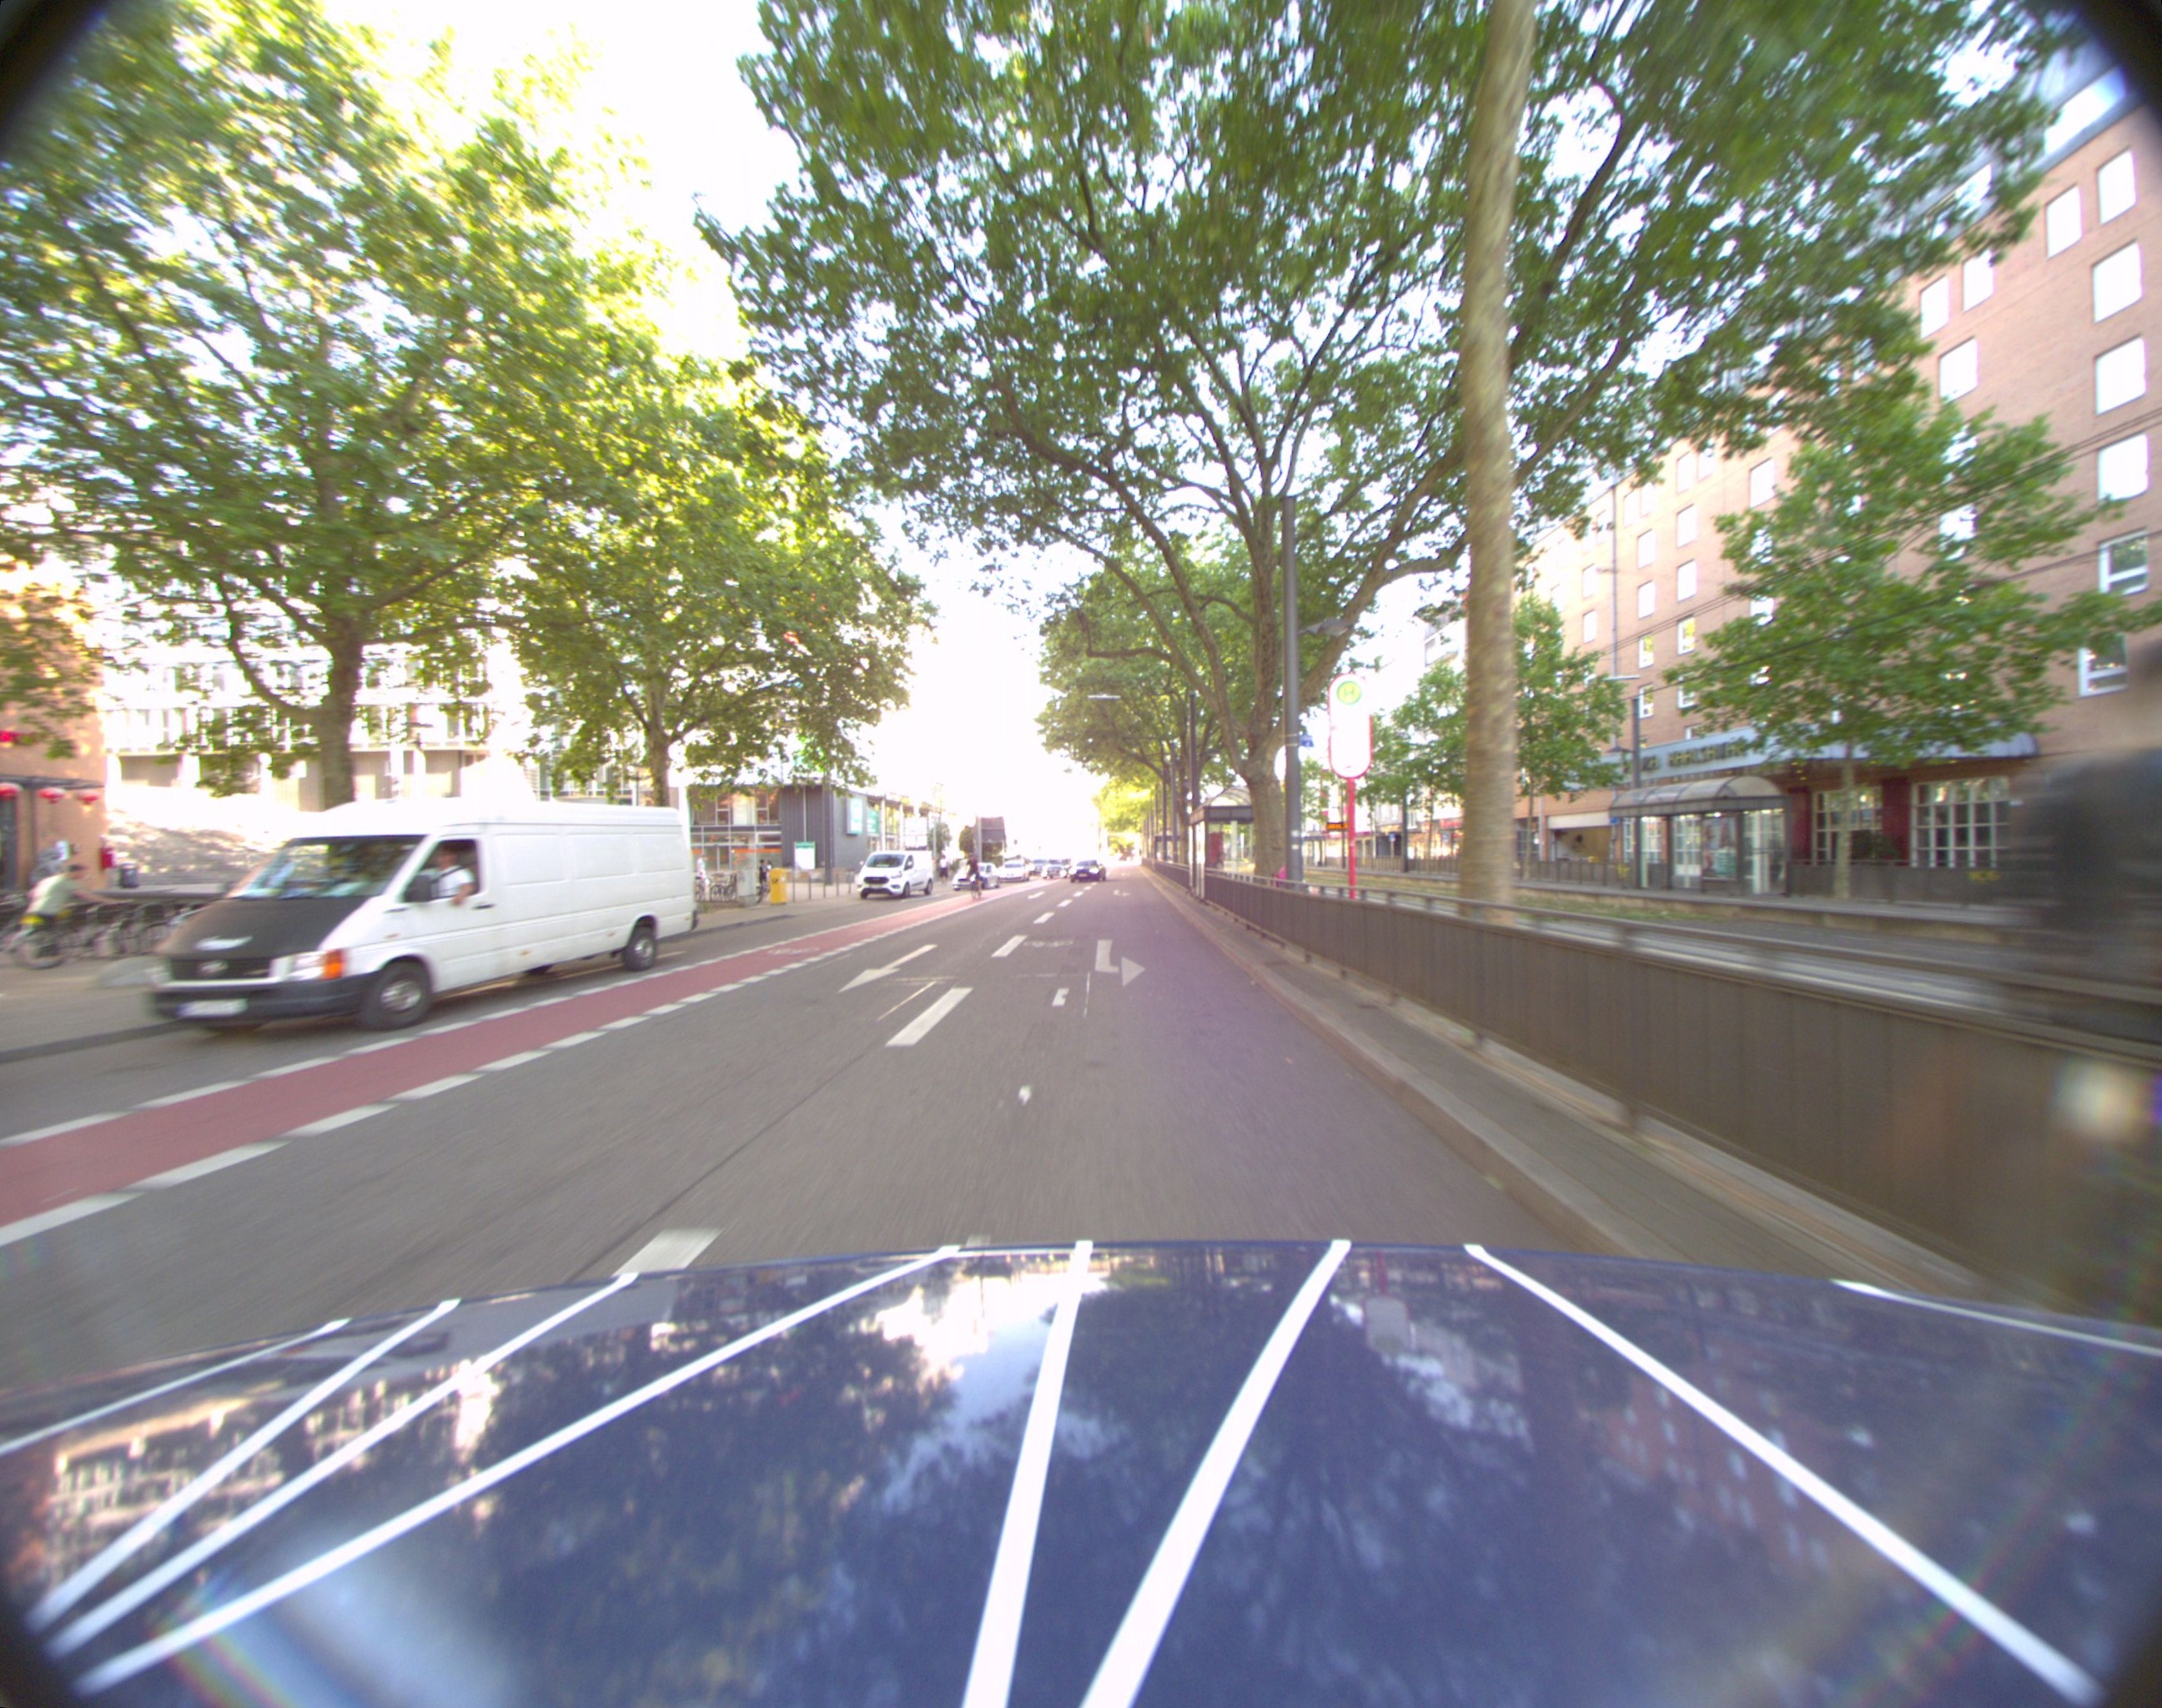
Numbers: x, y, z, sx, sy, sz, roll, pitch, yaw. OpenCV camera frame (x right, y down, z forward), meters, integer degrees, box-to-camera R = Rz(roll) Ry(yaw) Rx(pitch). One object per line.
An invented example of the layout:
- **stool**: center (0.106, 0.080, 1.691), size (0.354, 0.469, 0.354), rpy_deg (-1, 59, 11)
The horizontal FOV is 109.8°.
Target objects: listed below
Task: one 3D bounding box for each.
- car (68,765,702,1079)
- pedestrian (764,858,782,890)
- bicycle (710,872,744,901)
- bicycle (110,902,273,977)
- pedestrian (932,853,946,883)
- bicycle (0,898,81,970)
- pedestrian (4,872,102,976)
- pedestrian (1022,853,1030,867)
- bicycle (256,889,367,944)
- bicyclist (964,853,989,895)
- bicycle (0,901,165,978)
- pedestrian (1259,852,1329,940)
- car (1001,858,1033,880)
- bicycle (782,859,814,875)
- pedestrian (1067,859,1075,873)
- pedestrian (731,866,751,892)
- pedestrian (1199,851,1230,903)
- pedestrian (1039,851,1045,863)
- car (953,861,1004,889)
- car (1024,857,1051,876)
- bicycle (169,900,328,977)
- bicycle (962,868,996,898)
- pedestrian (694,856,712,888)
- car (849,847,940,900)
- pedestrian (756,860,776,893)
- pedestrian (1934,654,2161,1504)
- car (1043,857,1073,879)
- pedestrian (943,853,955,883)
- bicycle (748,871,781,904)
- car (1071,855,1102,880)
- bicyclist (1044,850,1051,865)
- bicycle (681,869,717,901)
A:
- **car**: center (-7.798, 0.593, 9.997), size (1.998, 2.708, 6.562), rpy_deg (-2, 0, 2)
- **pedestrian**: center (-14.711, 0.965, 36.271), size (0.516, 1.514, 0.636), rpy_deg (0, 1, 10)
- **bicycle**: center (-13.379, 1.203, 28.741), size (0.460, 1.023, 1.628), rpy_deg (-1, 0, 2)
- **bicycle**: center (-14.547, 1.361, 12.499), size (0.596, 1.041, 1.656), rpy_deg (0, 0, 9)
- **pedestrian**: center (-8.599, 0.821, 45.964), size (0.591, 1.798, 0.896), rpy_deg (0, 1, 3)
- **bicycle**: center (-17.902, 1.337, 12.494), size (0.596, 1.119, 1.656), rpy_deg (0, 0, 9)
- **pedestrian**: center (-16.602, 1.104, 12.281), size (0.718, 1.622, 0.636), rpy_deg (0, 1, 7)
- **pedestrian**: center (-5.980, 0.660, 82.706), size (0.753, 1.566, 0.912), rpy_deg (-1, 1, 6)
- **bicycle**: center (-16.515, 1.320, 16.364), size (0.597, 1.041, 1.655), rpy_deg (-1, 0, 4)
- **bicyclist**: center (-4.248, 0.787, 30.869), size (0.751, 1.678, 0.715), rpy_deg (0, 1, 14)
- **bicycle**: center (-16.104, 1.335, 12.238), size (0.596, 1.041, 1.656), rpy_deg (-1, 0, 6)
- **pedestrian**: center (3.524, 0.681, 12.621), size (0.979, 1.392, 0.664), rpy_deg (-2, 1, 5)
- **car**: center (-4.487, 1.054, 53.606), size (1.671, 1.455, 3.870), rpy_deg (-1, 0, 4)
- **bicycle**: center (-19.031, 0.893, 51.068), size (1.879, 1.057, 0.700), rpy_deg (0, 1, 2)
- **pedestrian**: center (-0.874, 1.084, 68.914), size (0.665, 1.218, 0.775), rpy_deg (0, 1, 3)
- **pedestrian**: center (-16.109, 1.197, 35.996), size (0.615, 1.214, 0.678), rpy_deg (0, 1, 7)
- **pedestrian**: center (3.650, 0.625, 20.785), size (0.735, 1.379, 0.640), rpy_deg (-2, 1, 5)
- **pedestrian**: center (-5.373, 0.431, 105.594), size (0.692, 1.573, 0.664), rpy_deg (1, 1, 4)
- **car**: center (-5.622, 1.151, 42.139), size (1.784, 1.411, 4.024), rpy_deg (-1, 0, 8)
- **car**: center (-3.927, 1.143, 68.915), size (1.998, 1.587, 4.001), rpy_deg (-1, 0, 3)
- **bicycle**: center (-13.410, 1.325, 12.311), size (0.596, 1.041, 1.656), rpy_deg (0, 0, 9)
- **bicycle**: center (-4.106, 1.147, 30.706), size (0.550, 1.114, 2.129), rpy_deg (0, 0, 16)
- **pedestrian**: center (-20.251, 0.951, 40.713), size (0.539, 1.666, 0.723), rpy_deg (0, 1, 3)
- **car**: center (-7.992, 0.787, 33.175), size (2.127, 2.122, 5.291), rpy_deg (-1, 0, 6)
- **pedestrian**: center (-14.734, 1.041, 35.550), size (0.577, 1.534, 0.638), rpy_deg (0, 1, 10)
- **pedestrian**: center (2.633, 0.499, 1.730), size (0.511, 1.889, 0.759), rpy_deg (-2, 1, 2)
- **car**: center (-1.720, 1.040, 58.372), size (1.785, 1.628, 4.023), rpy_deg (-1, 0, 5)
- **pedestrian**: center (-7.978, 0.854, 45.946), size (0.564, 1.798, 0.891), rpy_deg (0, 1, 3)
- **bicycle**: center (-11.935, 1.259, 28.688), size (0.514, 1.151, 1.539), rpy_deg (-1, 0, 2)
- **car**: center (0.374, 0.842, 47.991), size (1.827, 1.416, 4.346), rpy_deg (-2, 0, 2)
- **bicyclist**: center (-4.122, 0.432, 93.372), size (0.743, 1.752, 1.209), rpy_deg (2, 1, 4)
- **bicycle**: center (-14.603, 1.173, 29.085), size (0.460, 1.172, 1.719), rpy_deg (0, 0, 2)
